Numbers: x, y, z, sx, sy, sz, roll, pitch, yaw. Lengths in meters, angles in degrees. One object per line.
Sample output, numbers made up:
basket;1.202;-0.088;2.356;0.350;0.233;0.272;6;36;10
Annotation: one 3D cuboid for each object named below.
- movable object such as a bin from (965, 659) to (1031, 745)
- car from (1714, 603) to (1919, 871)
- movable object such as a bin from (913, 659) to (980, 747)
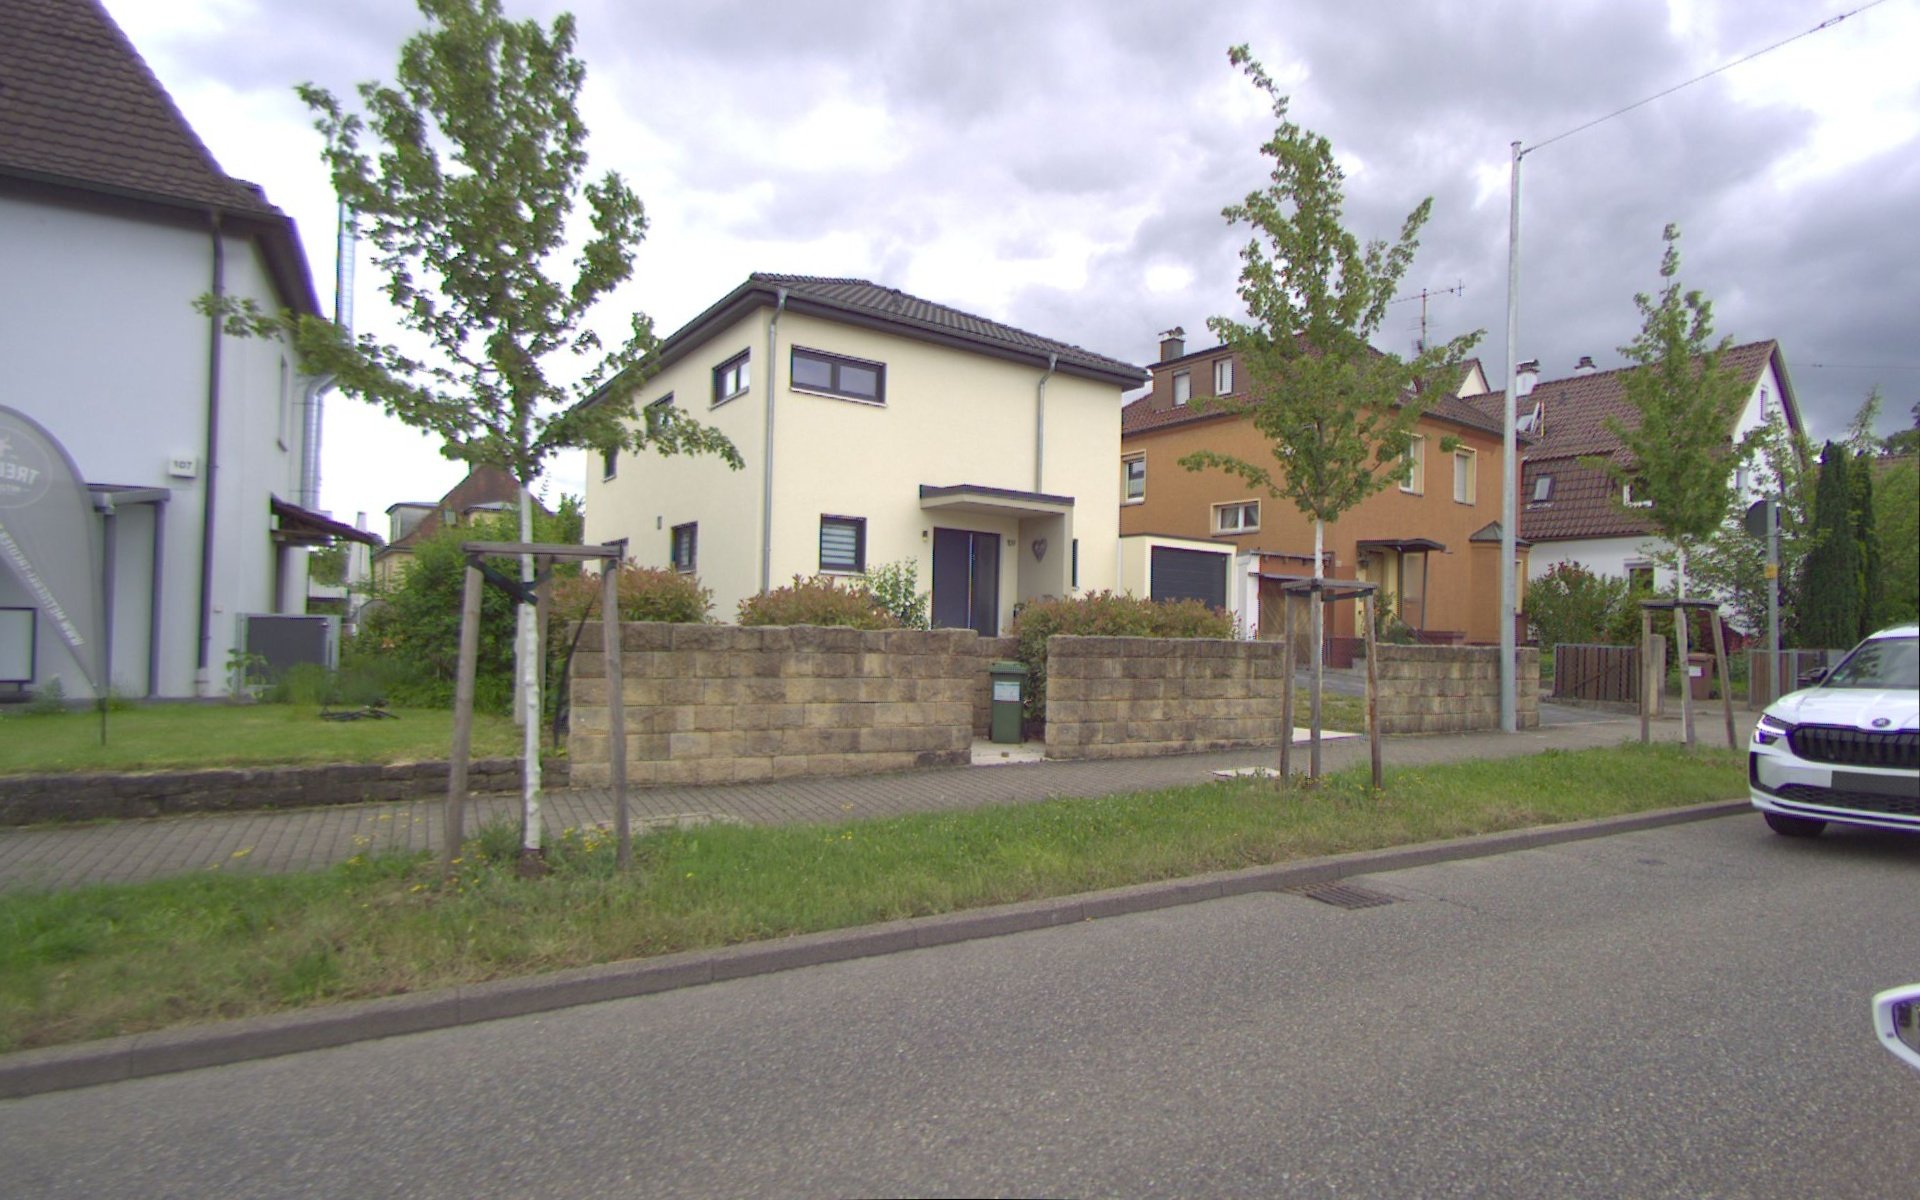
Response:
movable object such as a bin;0.445;1.187;11.829;0.518;0.934;0.610;1;0;-31
car;7.947;0.935;7.773;4.414;1.715;1.805;1;-3;-31
movable object such as a bin;-0.158;1.169;11.549;0.518;0.934;0.610;1;0;-31
